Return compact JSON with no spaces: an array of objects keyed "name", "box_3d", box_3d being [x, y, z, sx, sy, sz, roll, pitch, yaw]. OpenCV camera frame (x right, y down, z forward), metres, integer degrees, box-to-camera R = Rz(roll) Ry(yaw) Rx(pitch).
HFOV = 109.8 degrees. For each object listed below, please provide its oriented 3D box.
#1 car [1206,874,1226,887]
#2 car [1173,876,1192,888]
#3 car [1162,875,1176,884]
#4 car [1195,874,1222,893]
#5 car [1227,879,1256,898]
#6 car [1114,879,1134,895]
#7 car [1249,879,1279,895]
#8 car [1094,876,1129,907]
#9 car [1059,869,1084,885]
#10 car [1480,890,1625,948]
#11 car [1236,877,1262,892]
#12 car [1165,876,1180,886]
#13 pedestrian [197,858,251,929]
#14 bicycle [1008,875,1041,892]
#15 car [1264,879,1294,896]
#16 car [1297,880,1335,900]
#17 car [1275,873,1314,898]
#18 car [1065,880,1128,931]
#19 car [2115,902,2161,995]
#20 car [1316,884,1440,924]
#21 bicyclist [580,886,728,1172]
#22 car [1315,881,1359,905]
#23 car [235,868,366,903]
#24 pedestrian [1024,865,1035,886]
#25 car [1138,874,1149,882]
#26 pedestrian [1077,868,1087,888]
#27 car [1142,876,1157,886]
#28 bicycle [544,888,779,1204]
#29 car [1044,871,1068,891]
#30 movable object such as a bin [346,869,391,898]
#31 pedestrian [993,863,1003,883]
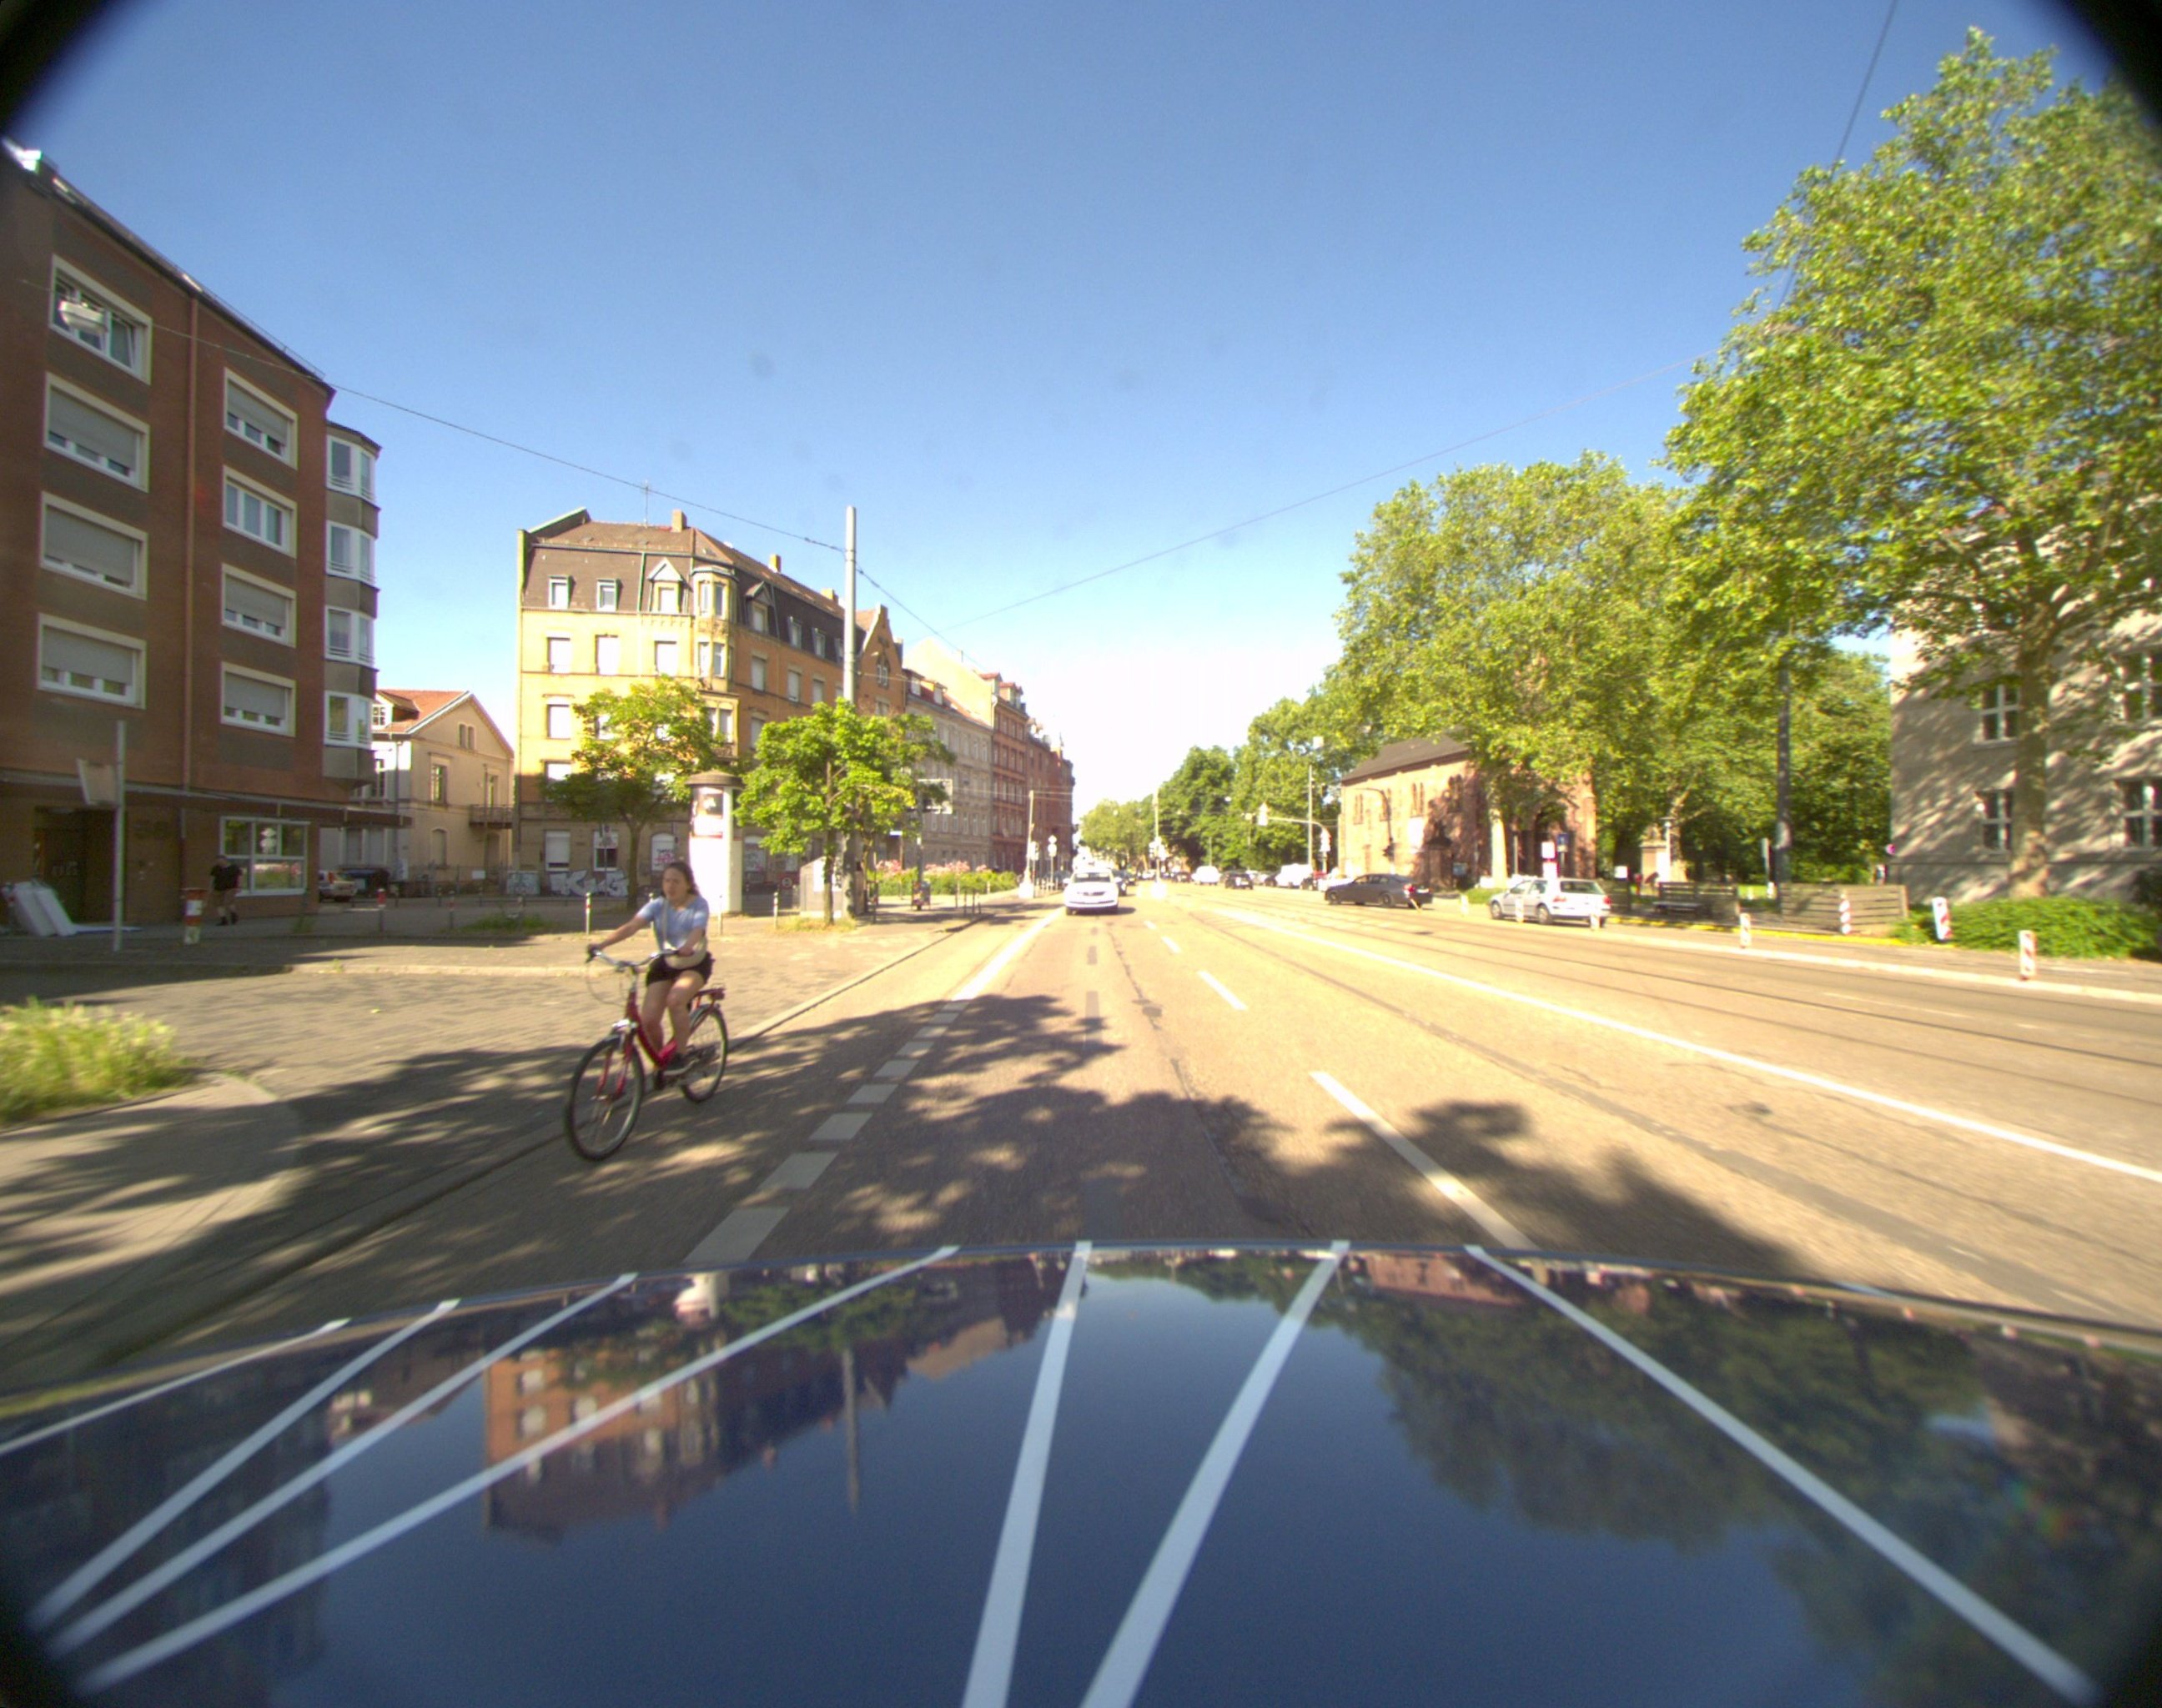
[{"name":"car","box_3d":[17.437,3.421,98.366,1.795,1.542,4.308,1,-1,0]},{"name":"car","box_3d":[12.649,3.432,94.995,1.797,1.420,4.377,1,-1,-1]},{"name":"car","box_3d":[14.513,4.229,125.917,1.795,1.542,4.308,1,-2,0]},{"name":"car","box_3d":[13.190,3.060,78.852,2.066,1.879,4.518,2,-1,1]},{"name":"car","box_3d":[13.437,2.897,63.690,1.620,1.403,4.088,-1,0,1]},{"name":"car","box_3d":[4.305,3.296,76.292,1.889,1.418,4.378,1,-1,2]},{"name":"car","box_3d":[18.339,3.280,76.373,1.795,1.542,4.307,1,-1,-2]},{"name":"car","box_3d":[1.818,2.316,45.904,1.998,1.606,4.268,1,-6,1]},{"name":"car","box_3d":[-0.859,2.228,75.408,1.763,1.516,4.477,1,-1,8]},{"name":"car","box_3d":[14.172,1.896,23.153,1.834,1.444,4.172,2,-1,1]},{"name":"car","box_3d":[18.094,3.322,82.094,1.795,1.542,4.308,1,-1,0]},{"name":"car","box_3d":[14.412,4.244,120.068,1.795,1.542,4.308,1,-1,0]},{"name":"pedestrian","box_3d":[-21.432,0.973,19.007,0.592,1.749,0.642,1,-1,0]},{"name":"bicycle","box_3d":[-5.056,2.613,68.745,1.968,1.407,6.831,2,-1,4]},{"name":"car","box_3d":[18.586,3.122,71.469,1.795,1.542,3.860,1,-1,-1]},{"name":"car","box_3d":[18.782,2.867,60.981,1.795,1.542,3.860,1,-1,-1]},{"name":"car","box_3d":[18.500,2.706,65.956,1.921,2.084,4.593,1,-1,-2]},{"name":"car","box_3d":[0.669,1.823,28.031,1.800,1.626,4.397,1,-1,8]},{"name":"car","box_3d":[19.010,1.561,11.229,1.676,1.538,4.189,1,-1,-3]},{"name":"car","box_3d":[12.627,2.086,32.680,1.839,1.444,4.950,2,-2,-28]},{"name":"bicyclist","box_3d":[-2.646,1.027,4.780,0.438,1.629,0.779,1,-1,0]},{"name":"car","box_3d":[18.802,2.831,55.910,1.780,1.564,3.676,2,0,-3]},{"name":"car","box_3d":[-36.017,1.449,35.157,4.000,1.535,1.634,1,-1,-9]},{"name":"pedestrian","box_3d":[-4.979,2.038,73.360,0.844,2.001,1.370,1,-1,3]},{"name":"car","box_3d":[11.969,4.618,146.054,1.795,1.542,4.308,1,-1,0]},{"name":"pedestrian","box_3d":[0.093,2.130,67.104,0.735,1.783,0.885,1,-1,3]},{"name":"car","box_3d":[10.715,4.229,118.816,1.797,1.420,4.377,1,-1,-1]},{"name":"bicycle","box_3d":[-2.617,1.057,5.005,0.438,1.629,1.939,-2,-1,0]},{"name":"car","box_3d":[-1.975,2.157,61.085,1.683,1.474,4.002,1,-1,2]},{"name":"movable object such as a bin","box_3d":[-35.293,1.459,37.636,1.218,1.435,1.035,1,-1,-5]},{"name":"pedestrian","box_3d":[-7.722,1.773,70.749,0.822,1.850,0.703,1,-1,-10]}]
